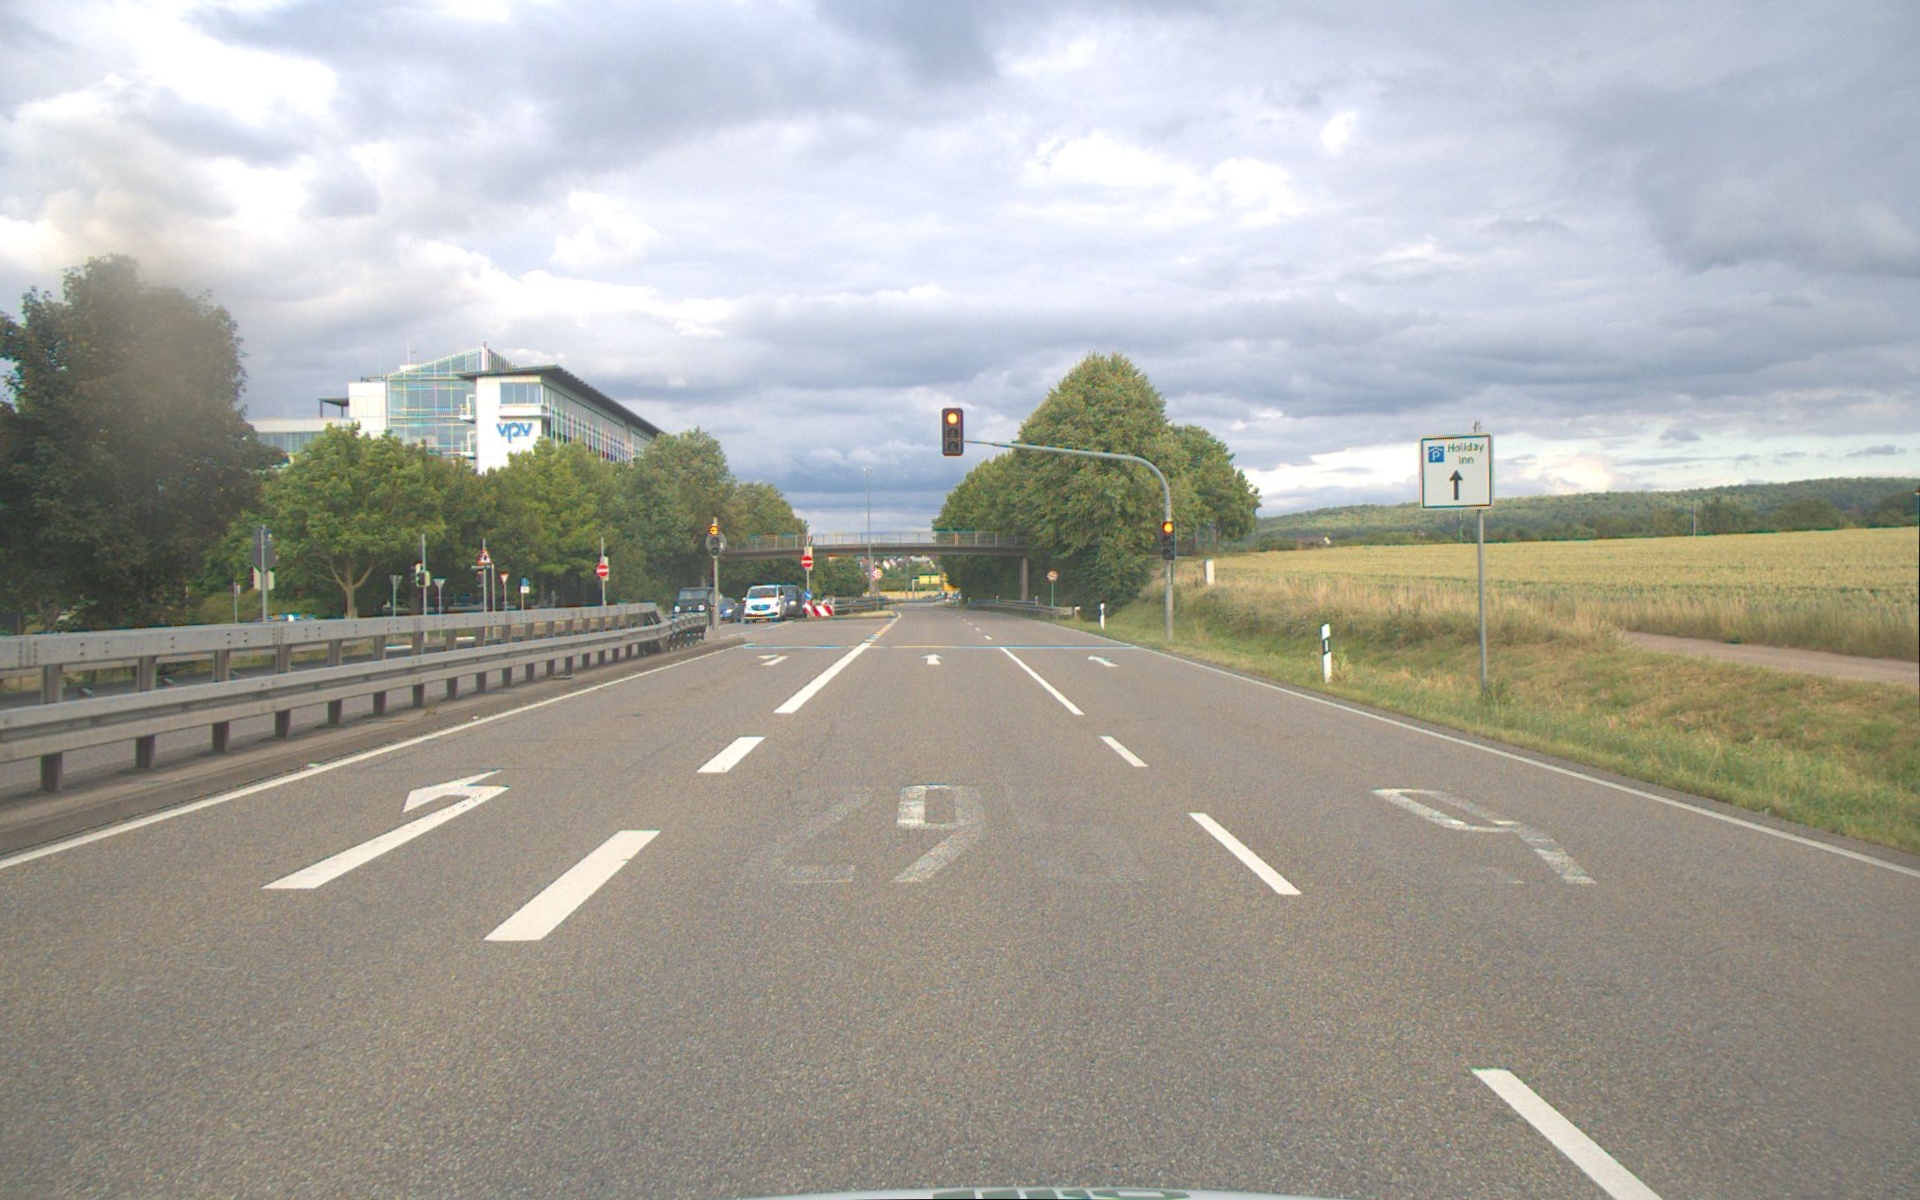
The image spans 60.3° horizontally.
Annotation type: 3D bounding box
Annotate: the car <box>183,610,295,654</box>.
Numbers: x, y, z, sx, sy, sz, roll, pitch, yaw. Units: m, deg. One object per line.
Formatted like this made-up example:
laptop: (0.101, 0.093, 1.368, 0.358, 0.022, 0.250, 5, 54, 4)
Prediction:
car: (-27.434, 1.193, 63.014, 3.647, 1.566, 1.728, 0, 0, -14)

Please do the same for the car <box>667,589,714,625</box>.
car: (-14.005, 0.357, 86.115, 1.831, 1.784, 4.048, -1, 1, -1)

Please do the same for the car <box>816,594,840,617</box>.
car: (-7.728, 0.320, 97.063, 1.286, 1.251, 2.920, -1, 1, -2)

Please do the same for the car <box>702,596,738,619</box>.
car: (-13.517, 0.391, 93.401, 1.580, 1.199, 3.457, -1, 1, -1)

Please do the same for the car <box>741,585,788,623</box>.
car: (-10.178, 0.177, 86.400, 1.909, 1.906, 4.736, -1, 1, -1)

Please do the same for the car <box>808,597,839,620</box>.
car: (-6.942, 0.416, 84.473, 1.330, 1.111, 2.922, -1, 1, 0)

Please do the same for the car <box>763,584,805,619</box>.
car: (-10.071, 0.043, 94.989, 1.953, 1.906, 4.736, -1, 1, -1)
